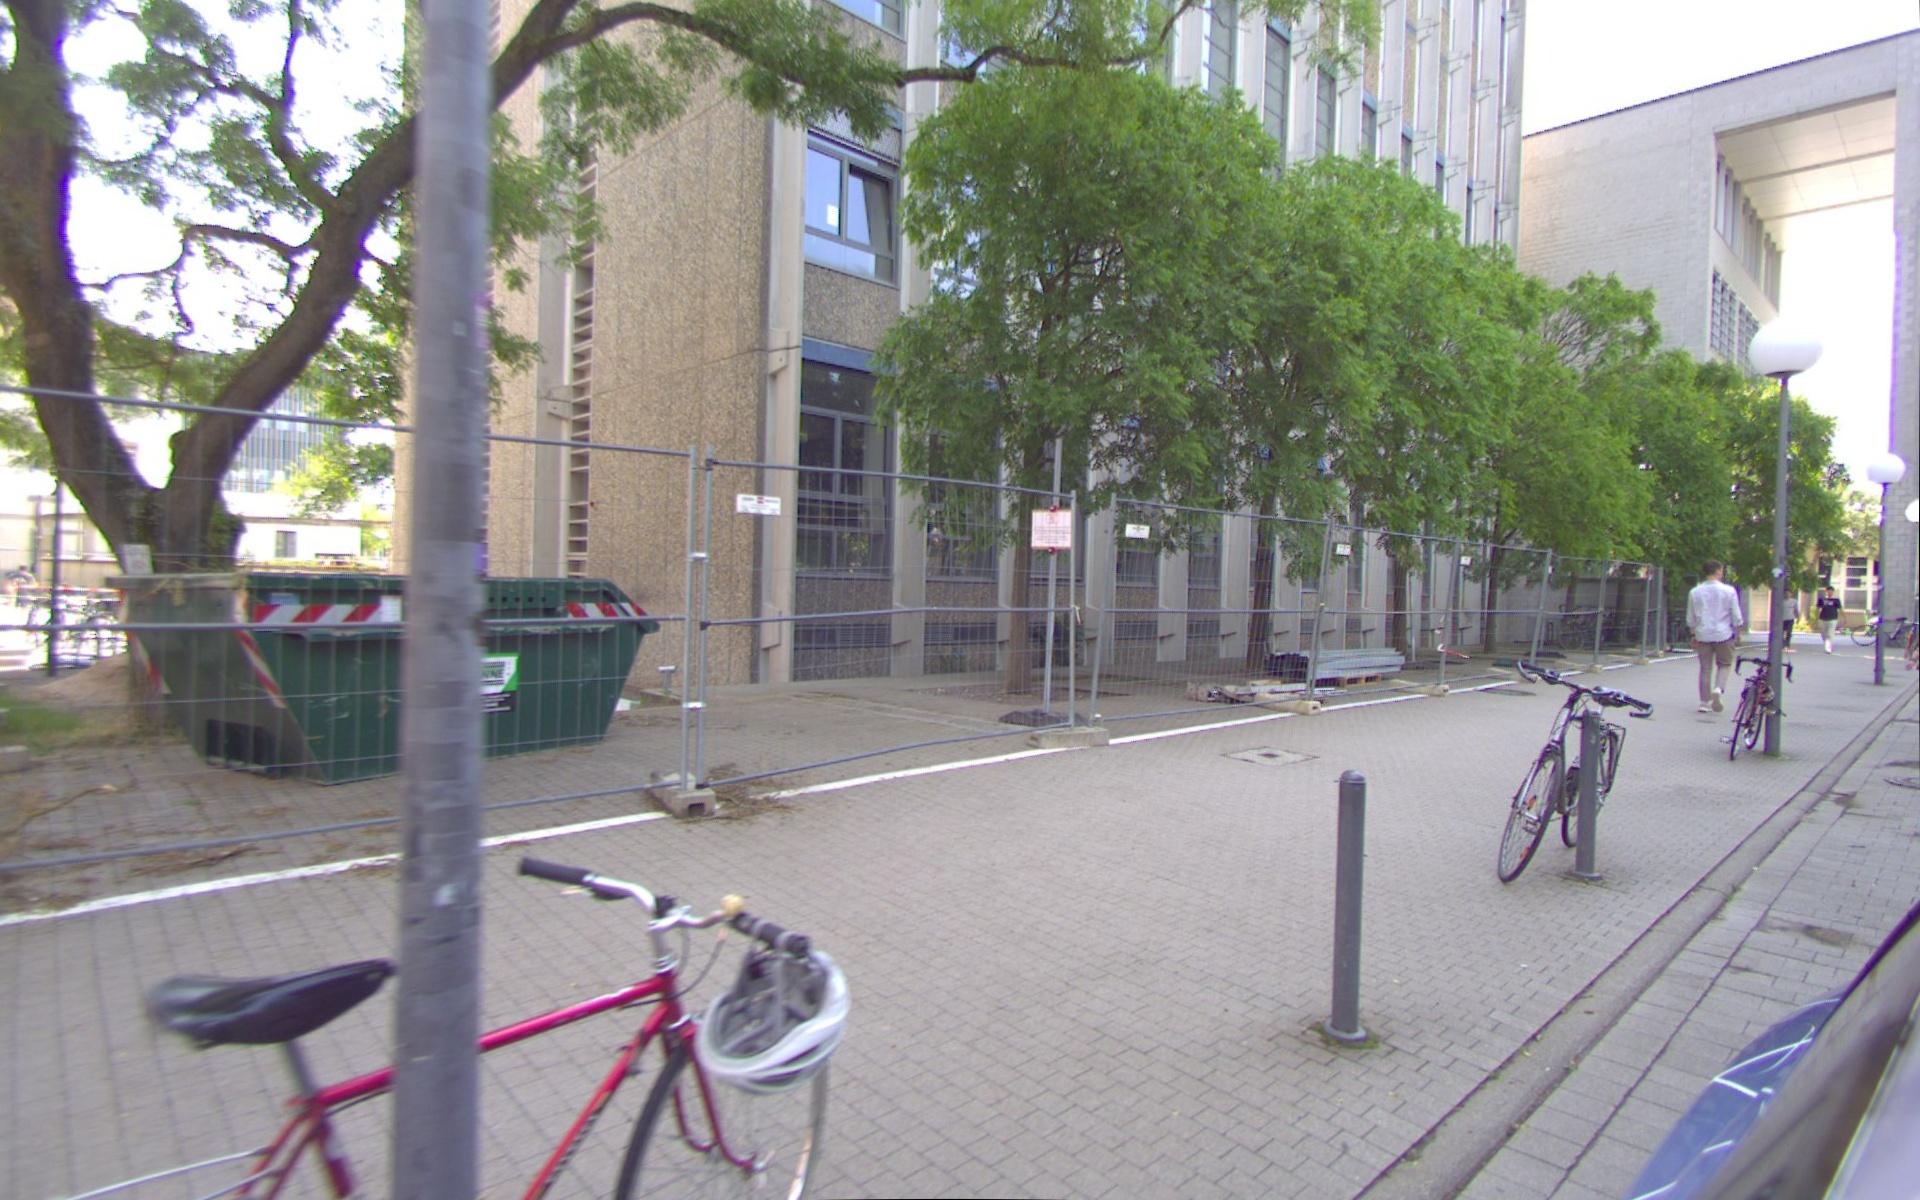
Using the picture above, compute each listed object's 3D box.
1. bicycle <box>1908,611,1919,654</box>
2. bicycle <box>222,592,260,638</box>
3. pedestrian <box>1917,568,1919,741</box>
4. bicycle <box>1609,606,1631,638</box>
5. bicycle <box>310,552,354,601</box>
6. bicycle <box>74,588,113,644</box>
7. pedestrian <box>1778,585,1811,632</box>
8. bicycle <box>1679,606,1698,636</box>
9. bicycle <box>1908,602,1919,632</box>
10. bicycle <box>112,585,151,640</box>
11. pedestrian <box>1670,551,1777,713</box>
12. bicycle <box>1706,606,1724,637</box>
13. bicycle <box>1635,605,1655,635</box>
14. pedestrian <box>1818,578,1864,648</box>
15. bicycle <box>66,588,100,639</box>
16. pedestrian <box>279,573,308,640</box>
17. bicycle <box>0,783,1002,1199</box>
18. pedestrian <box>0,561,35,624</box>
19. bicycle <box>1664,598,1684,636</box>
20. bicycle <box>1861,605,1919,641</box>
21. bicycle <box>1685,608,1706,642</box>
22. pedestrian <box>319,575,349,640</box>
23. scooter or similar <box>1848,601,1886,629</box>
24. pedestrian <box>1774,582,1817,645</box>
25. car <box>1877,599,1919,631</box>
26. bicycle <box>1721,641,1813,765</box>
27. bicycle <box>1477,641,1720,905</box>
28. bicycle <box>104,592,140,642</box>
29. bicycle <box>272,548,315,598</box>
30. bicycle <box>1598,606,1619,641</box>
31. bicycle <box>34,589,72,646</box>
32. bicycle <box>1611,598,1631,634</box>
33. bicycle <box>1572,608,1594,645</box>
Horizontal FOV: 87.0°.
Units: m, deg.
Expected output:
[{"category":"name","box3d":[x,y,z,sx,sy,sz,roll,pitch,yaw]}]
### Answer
[{"category":"bicycle","box3d":[24.974,0.832,26.185,1.828,1.052,0.537,0,2,-44]},{"category":"bicycle","box3d":[-19.308,0.383,27.164,0.536,1.184,1.998,1,0,-44]},{"category":"pedestrian","box3d":[10.197,0.554,10.272,0.684,1.746,0.719,0,0,45]},{"category":"bicycle","box3d":[19.536,0.639,29.956,0.290,0.917,1.426,2,1,43]},{"category":"bicycle","box3d":[-15.849,-0.567,25.529,0.536,1.184,1.998,1,0,-44]},{"category":"bicycle","box3d":[-19.114,0.348,22.312,0.536,1.184,1.998,1,0,-44]},{"category":"pedestrian","box3d":[32.744,0.318,39.722,0.955,1.837,0.760,0,0,37]},{"category":"bicycle","box3d":[22.914,0.643,31.811,0.290,0.917,1.426,2,1,43]},{"category":"bicycle","box3d":[38.160,0.722,39.321,1.880,1.178,0.595,5,2,42]},{"category":"bicycle","box3d":[-18.676,0.278,22.795,0.536,1.184,1.998,1,0,-44]},{"category":"pedestrian","box3d":[9.306,0.363,12.384,0.776,1.868,1.109,0,0,22]},{"category":"bicycle","box3d":[23.279,0.651,31.206,0.290,0.917,1.426,2,1,43]},{"category":"bicycle","box3d":[21.236,0.625,31.373,0.290,0.898,1.426,2,1,43]},{"category":"pedestrian","box3d":[23.539,0.332,27.052,0.696,1.826,0.874,2,1,29]},{"category":"bicycle","box3d":[-21.363,0.313,24.635,0.536,1.184,1.998,1,0,-44]},{"category":"pedestrian","box3d":[-16.505,0.155,25.050,0.524,1.651,0.562,0,0,-42]},{"category":"bicycle","box3d":[-0.708,0.915,1.539,1.711,0.973,0.451,0,4,-44]},{"category":"pedestrian","box3d":[-26.949,-0.232,28.889,0.901,1.749,0.674,2,3,42]},{"category":"bicycle","box3d":[21.785,0.515,30.868,0.290,1.142,1.426,2,1,43]},{"category":"bicycle","box3d":[28.975,0.712,31.216,1.738,1.052,0.442,3,1,43]},{"category":"bicycle","box3d":[20.927,0.700,28.783,0.290,0.917,1.426,2,1,43]},{"category":"pedestrian","box3d":[-15.972,0.185,25.806,0.553,1.633,0.532,0,0,-42]},{"category":"scooter or similar","box3d":[39.756,0.637,44.351,0.436,1.165,1.158,1,1,-38]},{"category":"pedestrian","box3d":[22.988,0.362,27.848,0.696,1.676,0.874,2,1,29]},{"category":"car","box3d":[48.988,0.776,51.142,1.626,1.494,3.772,-2,3,-43]},{"category":"bicycle","box3d":[7.356,0.892,9.202,1.703,0.947,0.396,0,3,-44]},{"category":"bicycle","box3d":[3.459,0.814,5.422,1.720,1.106,0.709,0,1,-44]},{"category":"bicycle","box3d":[-20.860,0.404,25.183,0.536,1.184,1.998,1,0,-44]},{"category":"bicycle","box3d":[-16.408,-0.636,24.888,0.536,1.184,1.998,1,0,-44]},{"category":"bicycle","box3d":[17.757,0.637,27.700,0.290,0.917,1.780,2,1,38]},{"category":"bicycle","box3d":[-19.527,0.362,21.772,0.536,1.184,1.998,1,0,-44]},{"category":"bicycle","box3d":[20.800,0.485,31.842,0.290,1.113,1.426,2,1,43]},{"category":"bicycle","box3d":[16.193,0.678,26.299,0.290,0.917,1.597,2,1,38]}]
